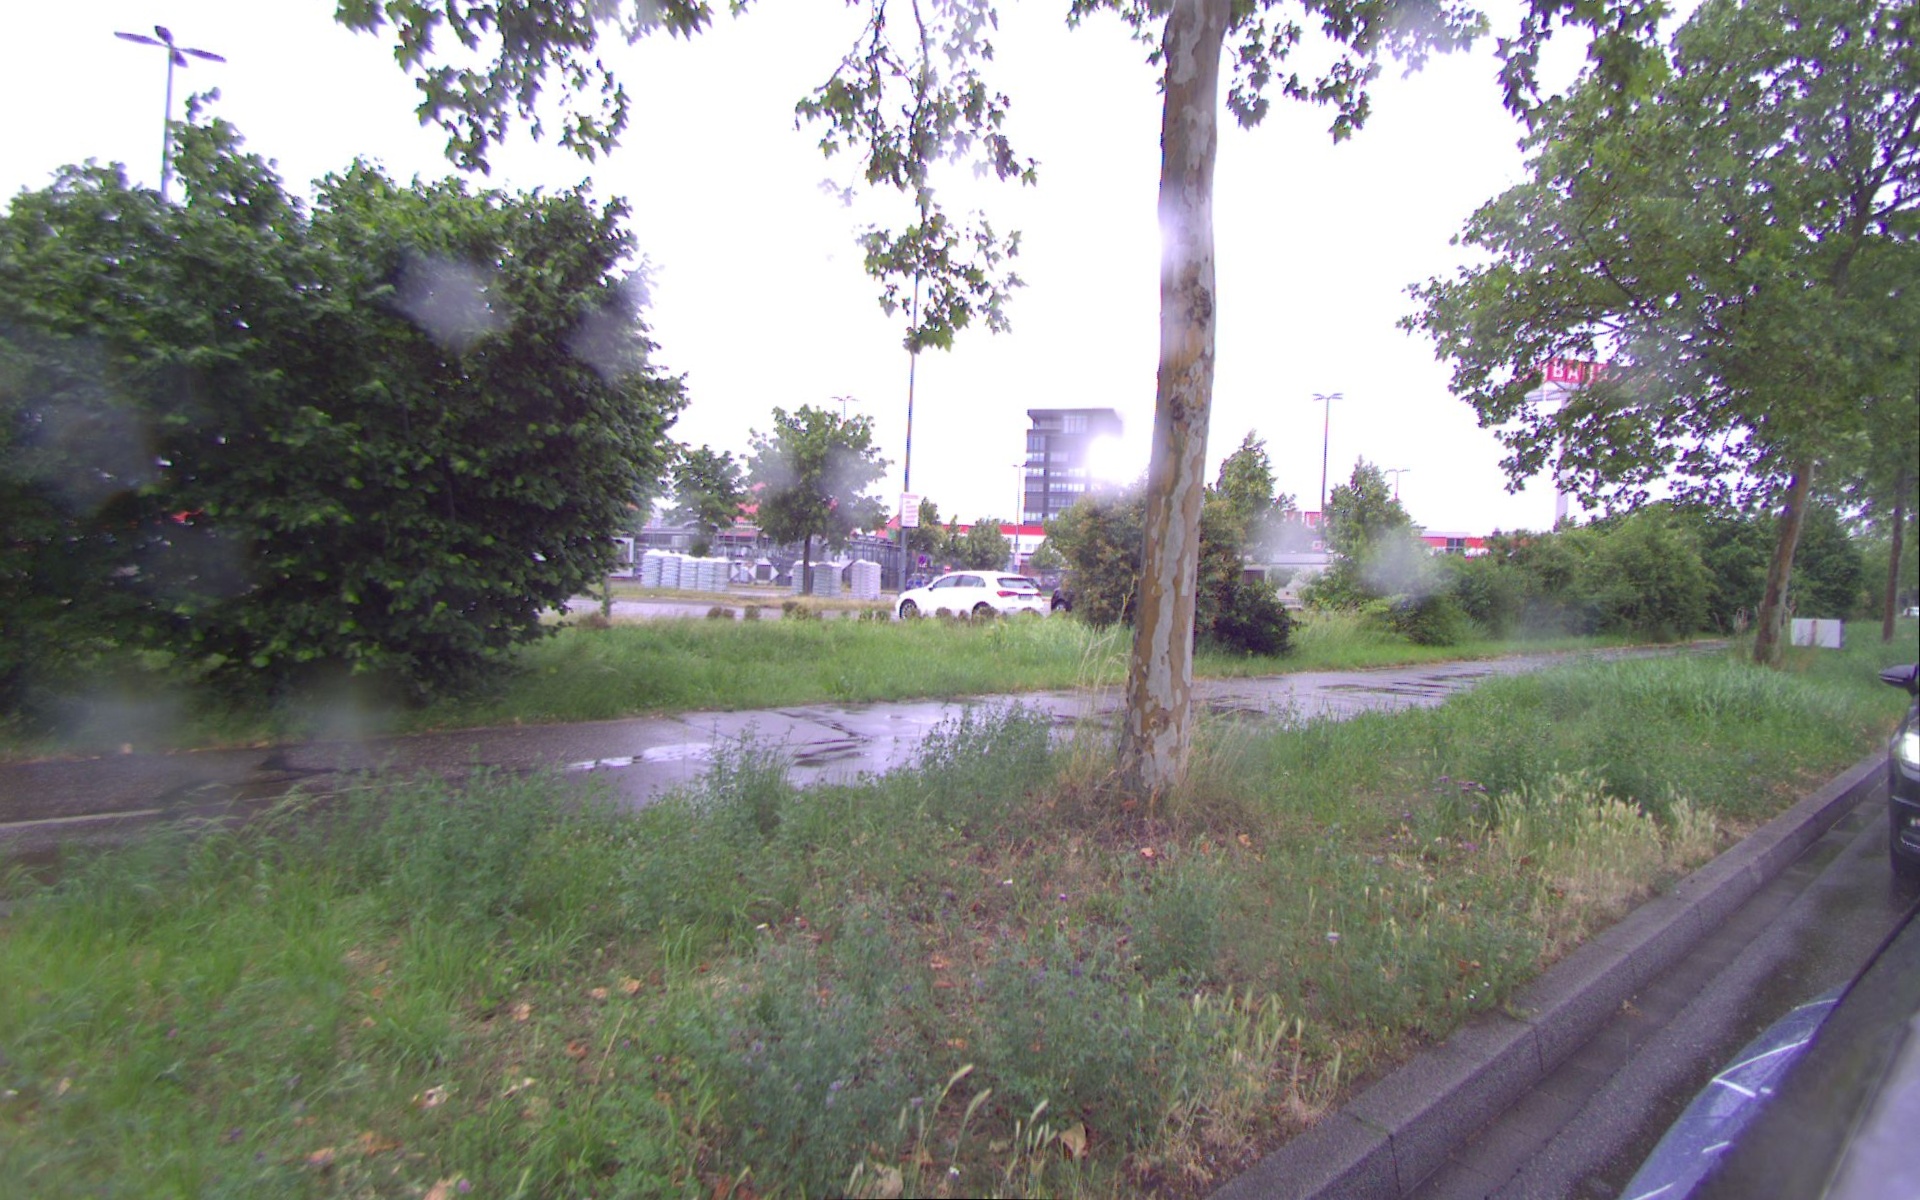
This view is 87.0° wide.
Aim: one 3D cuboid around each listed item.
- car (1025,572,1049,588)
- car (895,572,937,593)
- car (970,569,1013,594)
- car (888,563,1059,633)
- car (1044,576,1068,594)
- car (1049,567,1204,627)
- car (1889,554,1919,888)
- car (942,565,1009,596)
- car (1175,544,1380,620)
[{"bbox_3d":[8.500,-2.266,111.906,1.973,1.697,4.257,2,2,13],"label":"car"},{"bbox_3d":[-3.399,-1.389,79.079,1.905,1.571,4.249,2,2,18],"label":"car"},{"bbox_3d":[2.144,-1.287,68.031,1.903,1.571,4.254,2,2,15],"label":"car"},{"bbox_3d":[0.284,-0.101,25.947,1.899,1.571,4.262,0,2,-45],"label":"car"},{"bbox_3d":[9.555,-1.495,100.389,1.971,1.697,4.261,2,2,10],"label":"car"},{"bbox_3d":[4.926,-0.141,30.302,1.899,1.571,4.262,0,2,-45],"label":"car"},{"bbox_3d":[6.850,0.586,5.898,4.548,1.625,1.768,0,0,-43],"label":"car"},{"bbox_3d":[0.911,-1.136,59.809,3.723,1.739,1.685,0,0,13],"label":"car"},{"bbox_3d":[10.951,-0.691,35.291,6.399,2.392,2.357,3,2,41],"label":"car"}]
